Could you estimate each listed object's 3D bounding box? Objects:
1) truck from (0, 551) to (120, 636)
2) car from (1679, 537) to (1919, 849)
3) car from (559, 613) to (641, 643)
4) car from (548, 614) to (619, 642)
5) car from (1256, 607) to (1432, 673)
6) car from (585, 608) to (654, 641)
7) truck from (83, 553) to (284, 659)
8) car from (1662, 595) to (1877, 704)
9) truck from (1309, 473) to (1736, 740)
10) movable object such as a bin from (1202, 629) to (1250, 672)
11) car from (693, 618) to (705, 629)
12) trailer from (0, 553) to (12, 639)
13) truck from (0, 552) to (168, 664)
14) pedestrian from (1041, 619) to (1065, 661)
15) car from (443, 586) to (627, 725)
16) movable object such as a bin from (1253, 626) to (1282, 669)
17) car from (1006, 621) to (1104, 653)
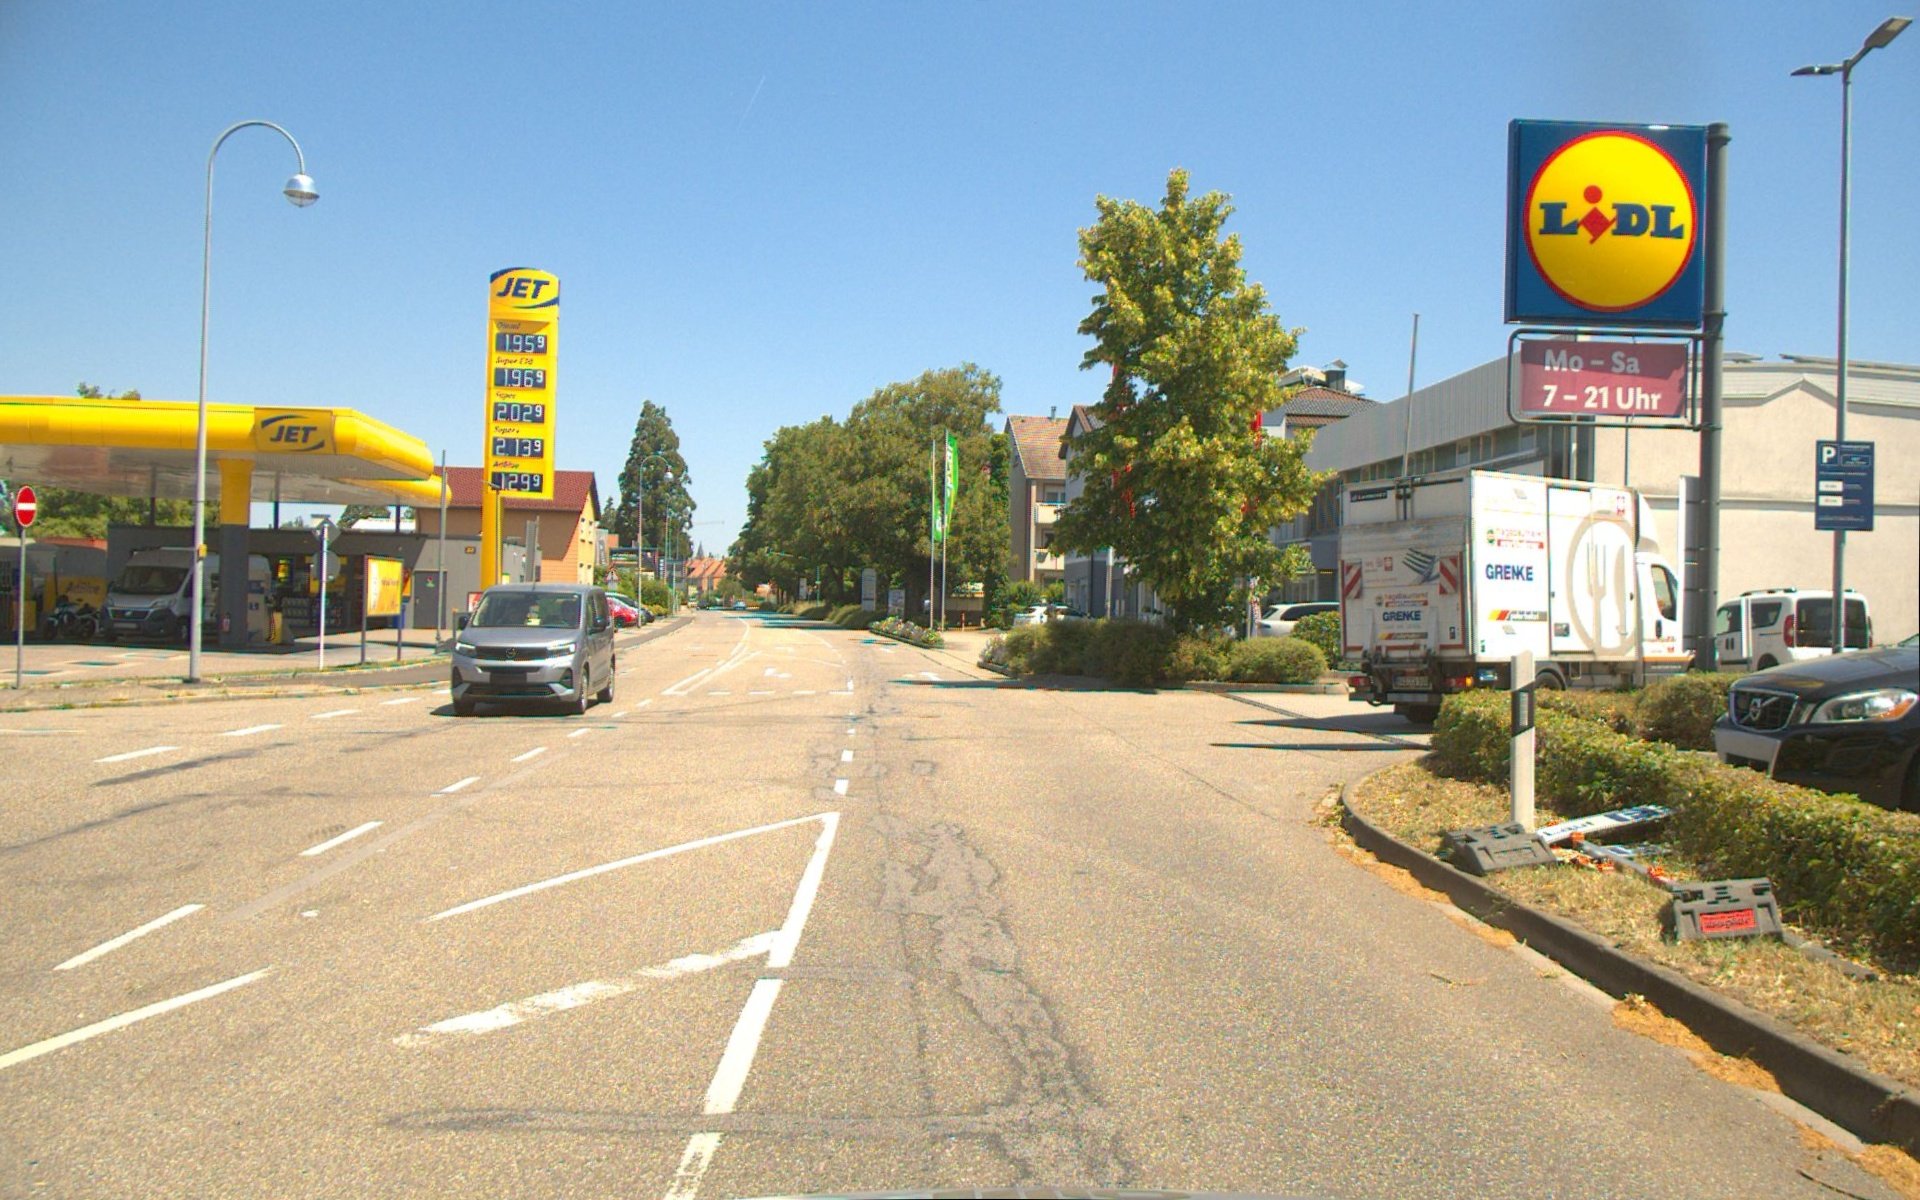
[{"bbox_3d":[-39.905,-0.277,69.568,7.724,3.486,2.151,1,-2,-9],"label":"truck"},{"bbox_3d":[6.952,0.564,9.966,4.421,1.697,1.894,1,-1,1],"label":"car"},{"bbox_3d":[-18.897,1.482,86.993,4.049,1.469,1.823,1,-2,-9],"label":"car"},{"bbox_3d":[-20.308,1.520,89.370,3.597,1.483,1.888,1,-2,-10],"label":"car"},{"bbox_3d":[10.220,1.061,44.272,4.483,1.671,2.001,0,-2,12],"label":"car"},{"bbox_3d":[-20.681,1.518,100.539,4.022,1.931,1.994,1,-2,-13],"label":"car"},{"bbox_3d":[-20.989,0.236,45.144,2.187,2.644,6.731,1,-1,0],"label":"truck"},{"bbox_3d":[15.319,0.928,31.572,1.673,1.924,4.250,1,-1,-6],"label":"car"},{"bbox_3d":[7.385,0.145,21.368,5.891,3.000,2.390,2,-1,-38],"label":"truck"},{"bbox_3d":[9.256,1.752,57.620,1.531,1.447,0.702,-2,-1,-1],"label":"movable object such as a bin"},{"bbox_3d":[-38.260,3.419,242.300,1.678,1.521,4.269,0,0,-8],"label":"car"},{"bbox_3d":[-37.214,-0.184,60.831,1.829,3.276,5.904,1,-1,-7],"label":"trailer"},{"bbox_3d":[-26.205,0.284,47.430,2.583,2.964,6.736,1,-1,13],"label":"truck"},{"bbox_3d":[3.670,1.586,65.532,0.823,1.670,1.009,1,-2,-3],"label":"pedestrian"},{"bbox_3d":[-6.003,0.752,23.835,1.760,1.803,4.360,1,-1,-4],"label":"car"},{"bbox_3d":[10.728,1.648,57.645,0.835,1.470,0.702,-2,-2,0],"label":"movable object such as a bin"},{"bbox_3d":[4.505,1.752,78.219,4.298,1.395,1.935,2,-2,-31],"label":"car"}]
